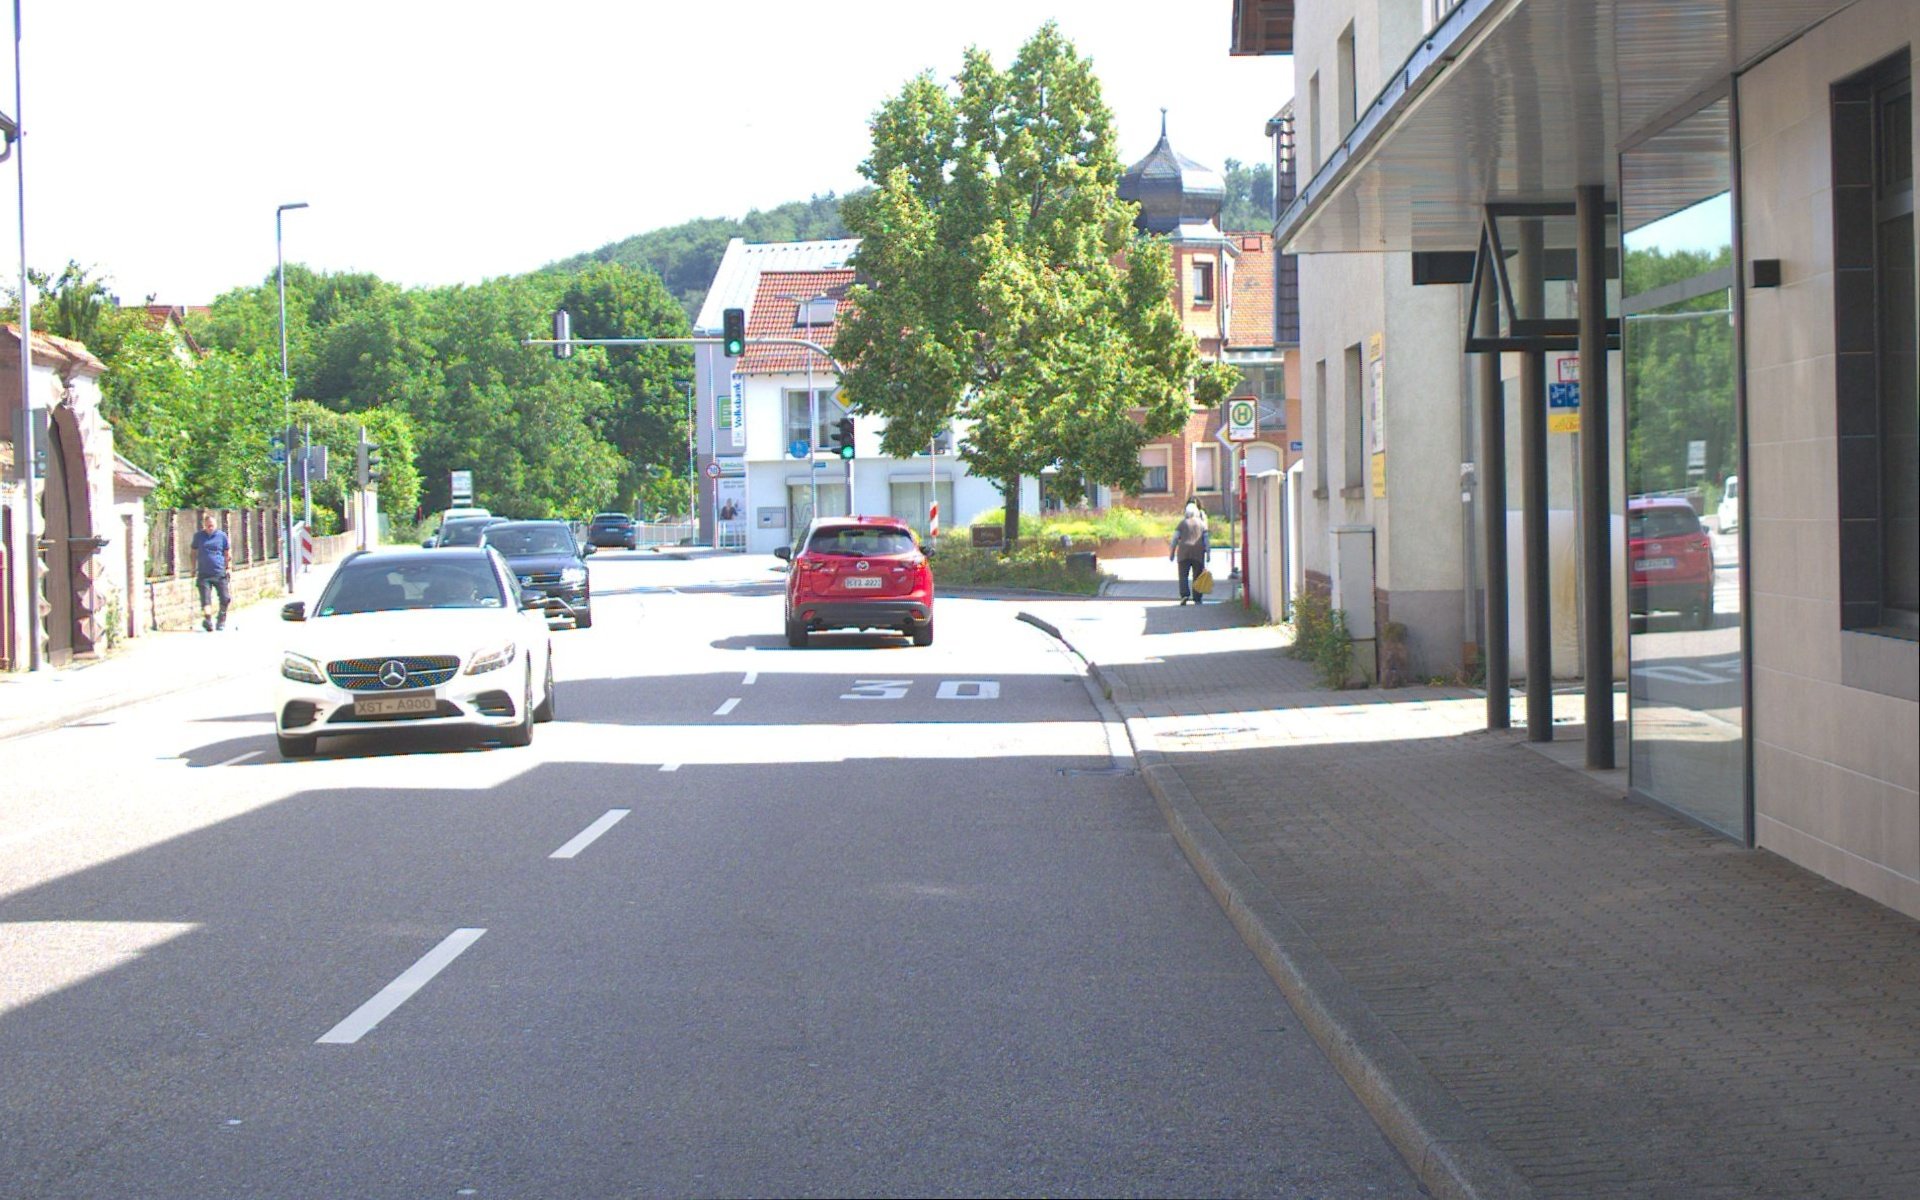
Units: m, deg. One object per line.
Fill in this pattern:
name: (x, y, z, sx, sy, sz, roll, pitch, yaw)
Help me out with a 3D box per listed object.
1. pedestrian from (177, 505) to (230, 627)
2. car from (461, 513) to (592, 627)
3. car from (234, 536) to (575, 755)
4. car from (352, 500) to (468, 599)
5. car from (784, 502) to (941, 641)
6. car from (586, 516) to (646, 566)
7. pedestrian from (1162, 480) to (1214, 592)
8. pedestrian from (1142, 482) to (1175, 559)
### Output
pedestrian: (-11.582, -0.511, 52.651, 0.665, 1.818, 0.799, -2, -1, -7)
car: (-6.585, -0.493, 52.250, 1.839, 1.527, 4.254, -2, 3, -7)
car: (-4.115, 0.286, 26.284, 1.987, 1.439, 5.102, -2, 1, -3)
car: (-10.887, -0.970, 68.247, 1.774, 1.778, 3.839, -2, -1, -2)
car: (-1.227, -0.390, 44.901, 1.859, 1.709, 4.422, 0, 1, 1)
car: (-13.537, -2.306, 135.395, 1.932, 1.788, 3.956, -2, -1, 0)
pedestrian: (3.558, -0.998, 53.680, 0.642, 1.701, 0.700, -2, -1, -7)
pedestrian: (4.922, -1.972, 85.387, 0.642, 1.872, 0.652, -2, -1, -7)
